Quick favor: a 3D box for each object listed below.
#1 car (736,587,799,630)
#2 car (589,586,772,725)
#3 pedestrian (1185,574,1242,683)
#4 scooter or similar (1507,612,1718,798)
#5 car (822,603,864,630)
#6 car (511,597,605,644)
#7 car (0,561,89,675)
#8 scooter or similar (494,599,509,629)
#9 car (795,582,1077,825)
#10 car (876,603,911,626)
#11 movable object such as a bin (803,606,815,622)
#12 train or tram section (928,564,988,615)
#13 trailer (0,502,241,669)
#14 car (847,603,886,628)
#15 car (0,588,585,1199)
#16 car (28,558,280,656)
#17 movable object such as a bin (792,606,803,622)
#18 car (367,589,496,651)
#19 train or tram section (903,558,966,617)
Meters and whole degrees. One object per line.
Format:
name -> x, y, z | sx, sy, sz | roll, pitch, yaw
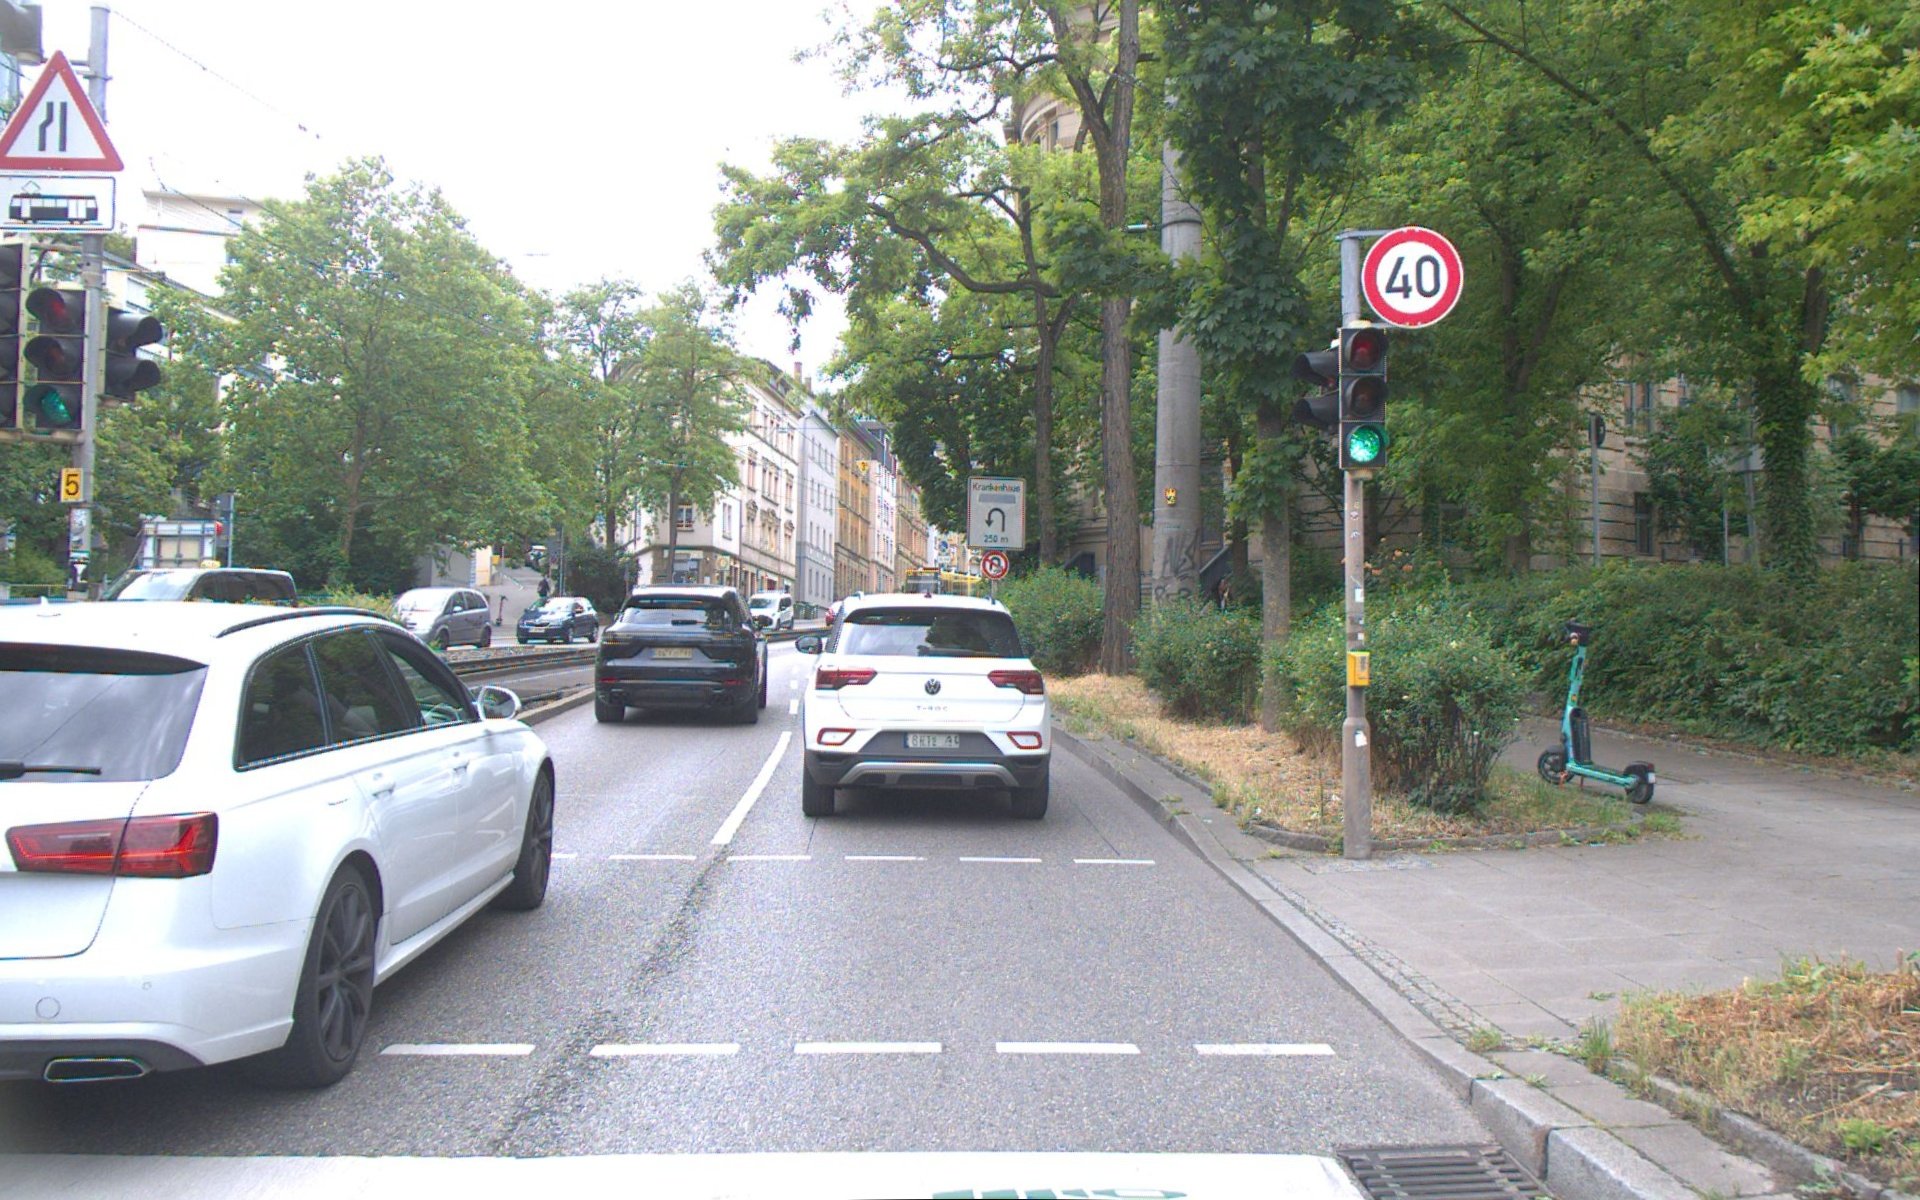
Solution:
car -> -9.176, 0.371, 79.281 | 1.906, 1.980, 5.006 | 0, 0, 6
car -> -3.475, 0.646, 21.305 | 1.998, 1.599, 4.353 | 0, 0, -6
pedestrian -> 4.101, 0.456, 26.784 | 0.756, 1.732, 0.784 | 0, 0, -6
scooter or similar -> 4.624, 0.703, 11.836 | 0.619, 1.231, 1.551 | 0, 0, -14
car -> -6.975, 0.951, 99.193 | 1.951, 1.579, 4.002 | 0, 0, 4
car -> -12.609, 0.621, 52.105 | 1.729, 1.432, 4.084 | 0, 0, 4
car -> -14.726, 0.261, 23.659 | 1.952, 1.633, 4.621 | 0, 0, 2
scooter or similar -> -19.225, 0.581, 69.391 | 0.481, 1.240, 1.636 | 3, -1, -13
car -> -0.314, 0.686, 12.856 | 1.842, 1.582, 3.996 | 0, 0, -5
car -> -4.680, 1.040, 116.996 | 1.951, 1.579, 4.002 | 0, 0, 4
movable object such as a bin -> -10.816, 0.993, 118.786 | 0.712, 1.092, 0.672 | 0, -1, 6
train or tram section -> 0.006, -0.739, 134.532 | 2.815, 3.791, 18.715 | 2, 0, 6
trailer -> -17.006, -0.267, 33.202 | 1.976, 3.025, 5.594 | 2, 0, 8
car -> -6.063, 0.979, 107.621 | 1.951, 1.579, 4.002 | 0, 0, 4
car -> -2.774, 0.714, 6.190 | 1.841, 1.480, 4.615 | 0, 0, -2
car -> -14.392, 0.122, 29.875 | 1.951, 1.633, 4.613 | 0, 0, 6
movable object such as a bin -> -11.250, 0.971, 114.565 | 0.672, 1.092, 0.677 | 0, -1, 6
car -> -13.027, 0.468, 40.984 | 1.624, 1.468, 3.742 | 0, 0, 7
train or tram section -> -1.682, -0.804, 117.832 | 2.821, 3.791, 14.865 | 2, 0, 5
